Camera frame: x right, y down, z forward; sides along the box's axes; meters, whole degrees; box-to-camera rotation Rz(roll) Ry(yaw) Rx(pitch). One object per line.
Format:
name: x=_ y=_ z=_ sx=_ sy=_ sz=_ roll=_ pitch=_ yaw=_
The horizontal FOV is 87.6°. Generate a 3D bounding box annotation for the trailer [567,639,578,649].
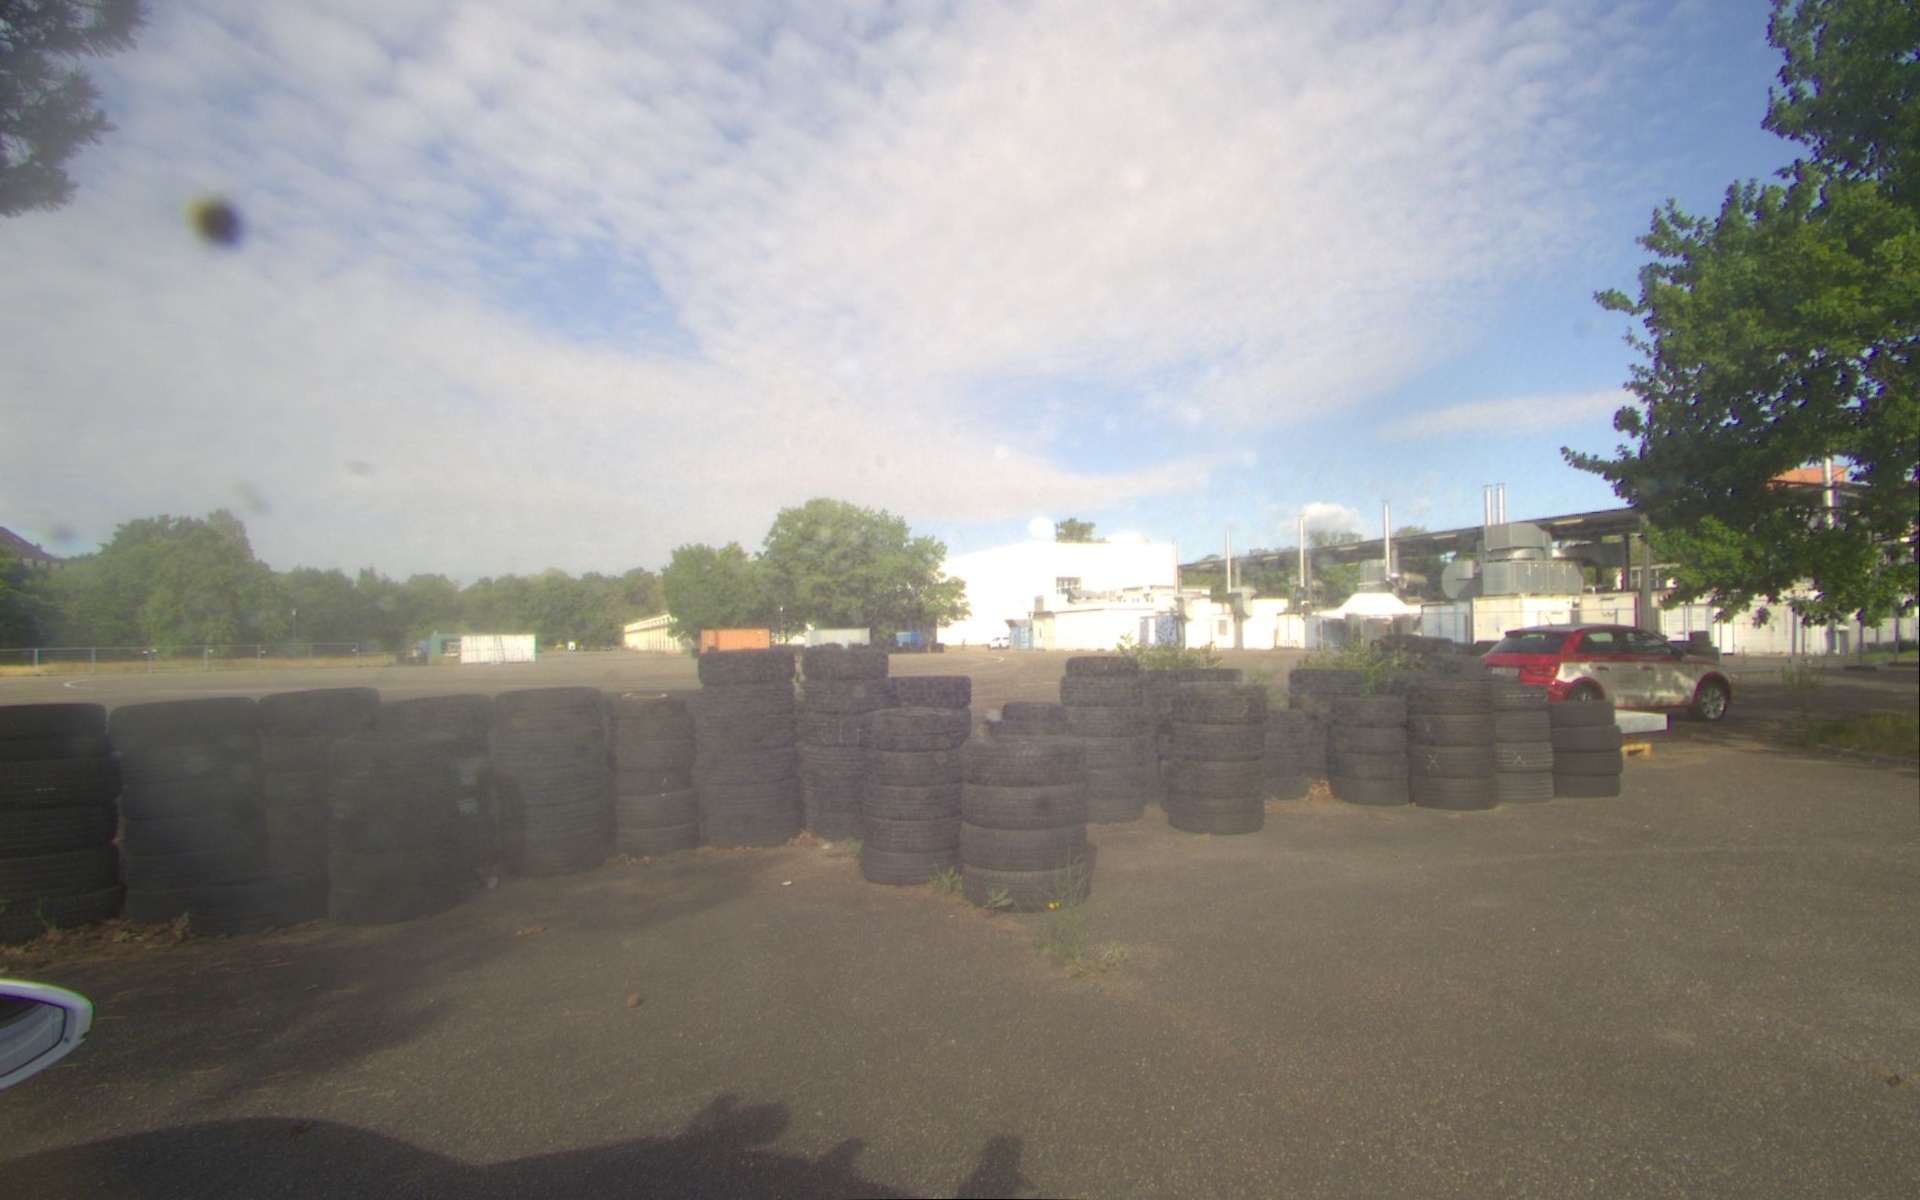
trailer: x=-88.990 y=10.099 z=229.952 sx=2.031 sy=2.039 sz=3.988 roll=0 pitch=-2 yaw=-24

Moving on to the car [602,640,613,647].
car: x=-81.476 y=10.063 z=231.618 sx=1.969 sy=1.772 sz=3.986 roll=0 pitch=-2 yaw=-25

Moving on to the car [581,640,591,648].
car: x=-85.760 y=10.176 z=229.561 sx=1.969 sy=1.772 sz=3.986 roll=0 pitch=-2 yaw=-25

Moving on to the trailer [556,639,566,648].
trailer: x=-91.738 y=10.098 z=230.220 sx=1.968 sy=2.039 sz=3.987 roll=0 pitch=-2 yaw=-24

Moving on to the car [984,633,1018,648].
car: x=4.515 y=4.446 z=110.441 sx=1.845 sy=1.584 sz=4.533 roll=0 pitch=-2 yaw=-24

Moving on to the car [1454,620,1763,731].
car: x=9.656 y=1.068 z=14.984 sx=3.929 sy=1.483 sz=1.726 roll=0 pitch=-2 yaw=-16

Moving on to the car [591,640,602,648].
car: x=-83.775 y=10.156 z=230.622 sx=2.006 sy=1.831 sz=3.986 roll=0 pitch=-2 yaw=-25
